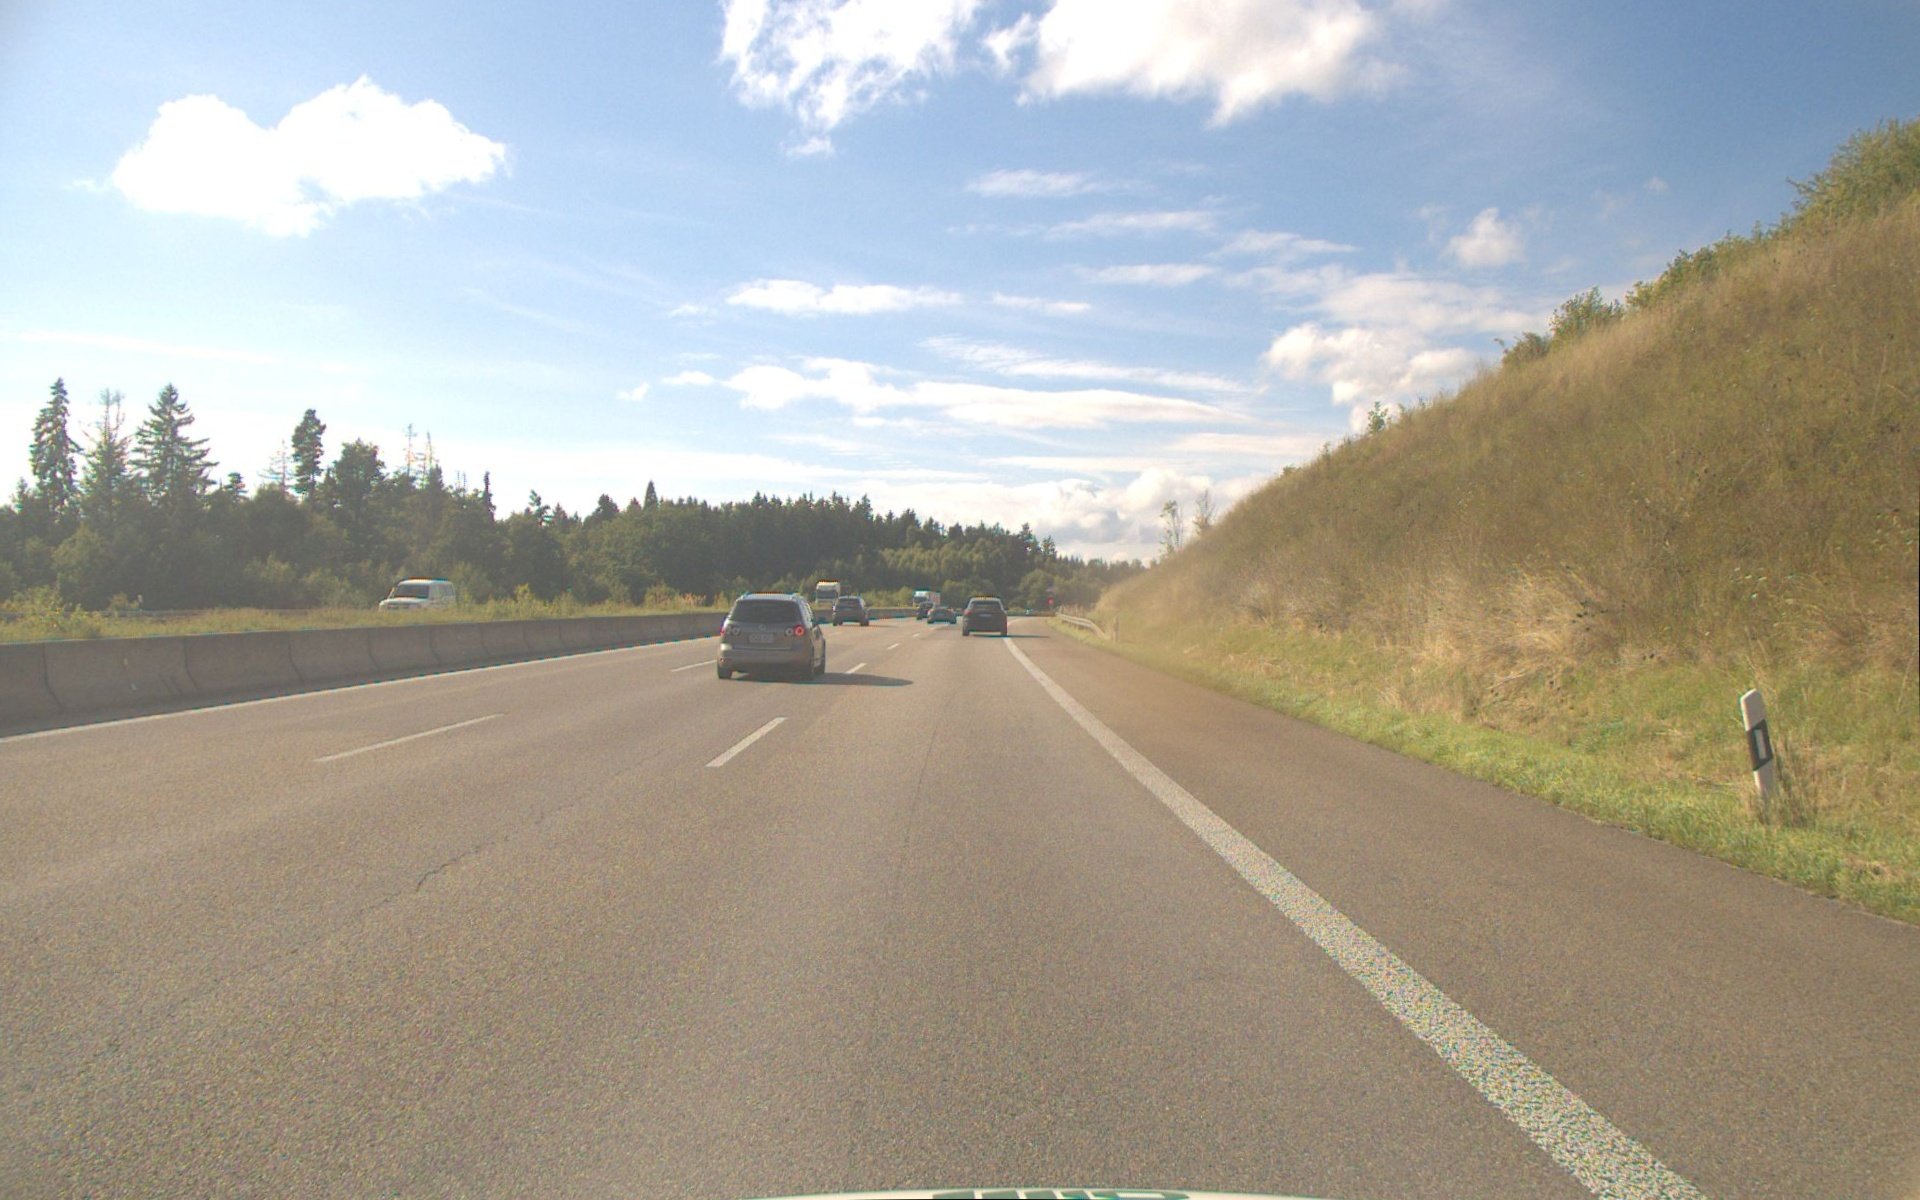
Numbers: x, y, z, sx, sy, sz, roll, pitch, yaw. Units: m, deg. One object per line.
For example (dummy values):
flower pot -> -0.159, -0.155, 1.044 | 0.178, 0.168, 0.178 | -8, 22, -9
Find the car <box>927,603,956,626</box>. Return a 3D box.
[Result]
car -> -1.249, 0.964, 113.169 | 1.835, 1.523, 3.880 | 1, 0, 0

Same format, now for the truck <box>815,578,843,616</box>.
truck -> -15.799, -0.330, 199.877 | 2.744, 4.469, 5.465 | 0, 0, 2

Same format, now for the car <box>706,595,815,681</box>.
car -> -3.727, 0.683, 31.499 | 1.837, 1.523, 3.877 | 1, 0, -4

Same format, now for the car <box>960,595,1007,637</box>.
car -> 0.978, 0.673, 71.188 | 1.836, 1.704, 3.888 | 1, 0, -2

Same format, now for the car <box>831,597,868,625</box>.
car -> -6.315, 0.619, 94.803 | 1.835, 1.523, 3.879 | 1, 0, 0

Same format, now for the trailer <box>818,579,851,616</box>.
trailer -> -15.589, -0.332, 206.552 | 2.744, 4.469, 12.053 | 0, 0, 2

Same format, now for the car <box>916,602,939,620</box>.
car -> -2.773, 0.968, 143.015 | 1.835, 1.523, 3.880 | 1, 0, 1

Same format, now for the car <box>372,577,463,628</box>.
car -> -22.664, 0.092, 69.317 | 1.952, 2.049, 5.387 | 1, 0, 0
